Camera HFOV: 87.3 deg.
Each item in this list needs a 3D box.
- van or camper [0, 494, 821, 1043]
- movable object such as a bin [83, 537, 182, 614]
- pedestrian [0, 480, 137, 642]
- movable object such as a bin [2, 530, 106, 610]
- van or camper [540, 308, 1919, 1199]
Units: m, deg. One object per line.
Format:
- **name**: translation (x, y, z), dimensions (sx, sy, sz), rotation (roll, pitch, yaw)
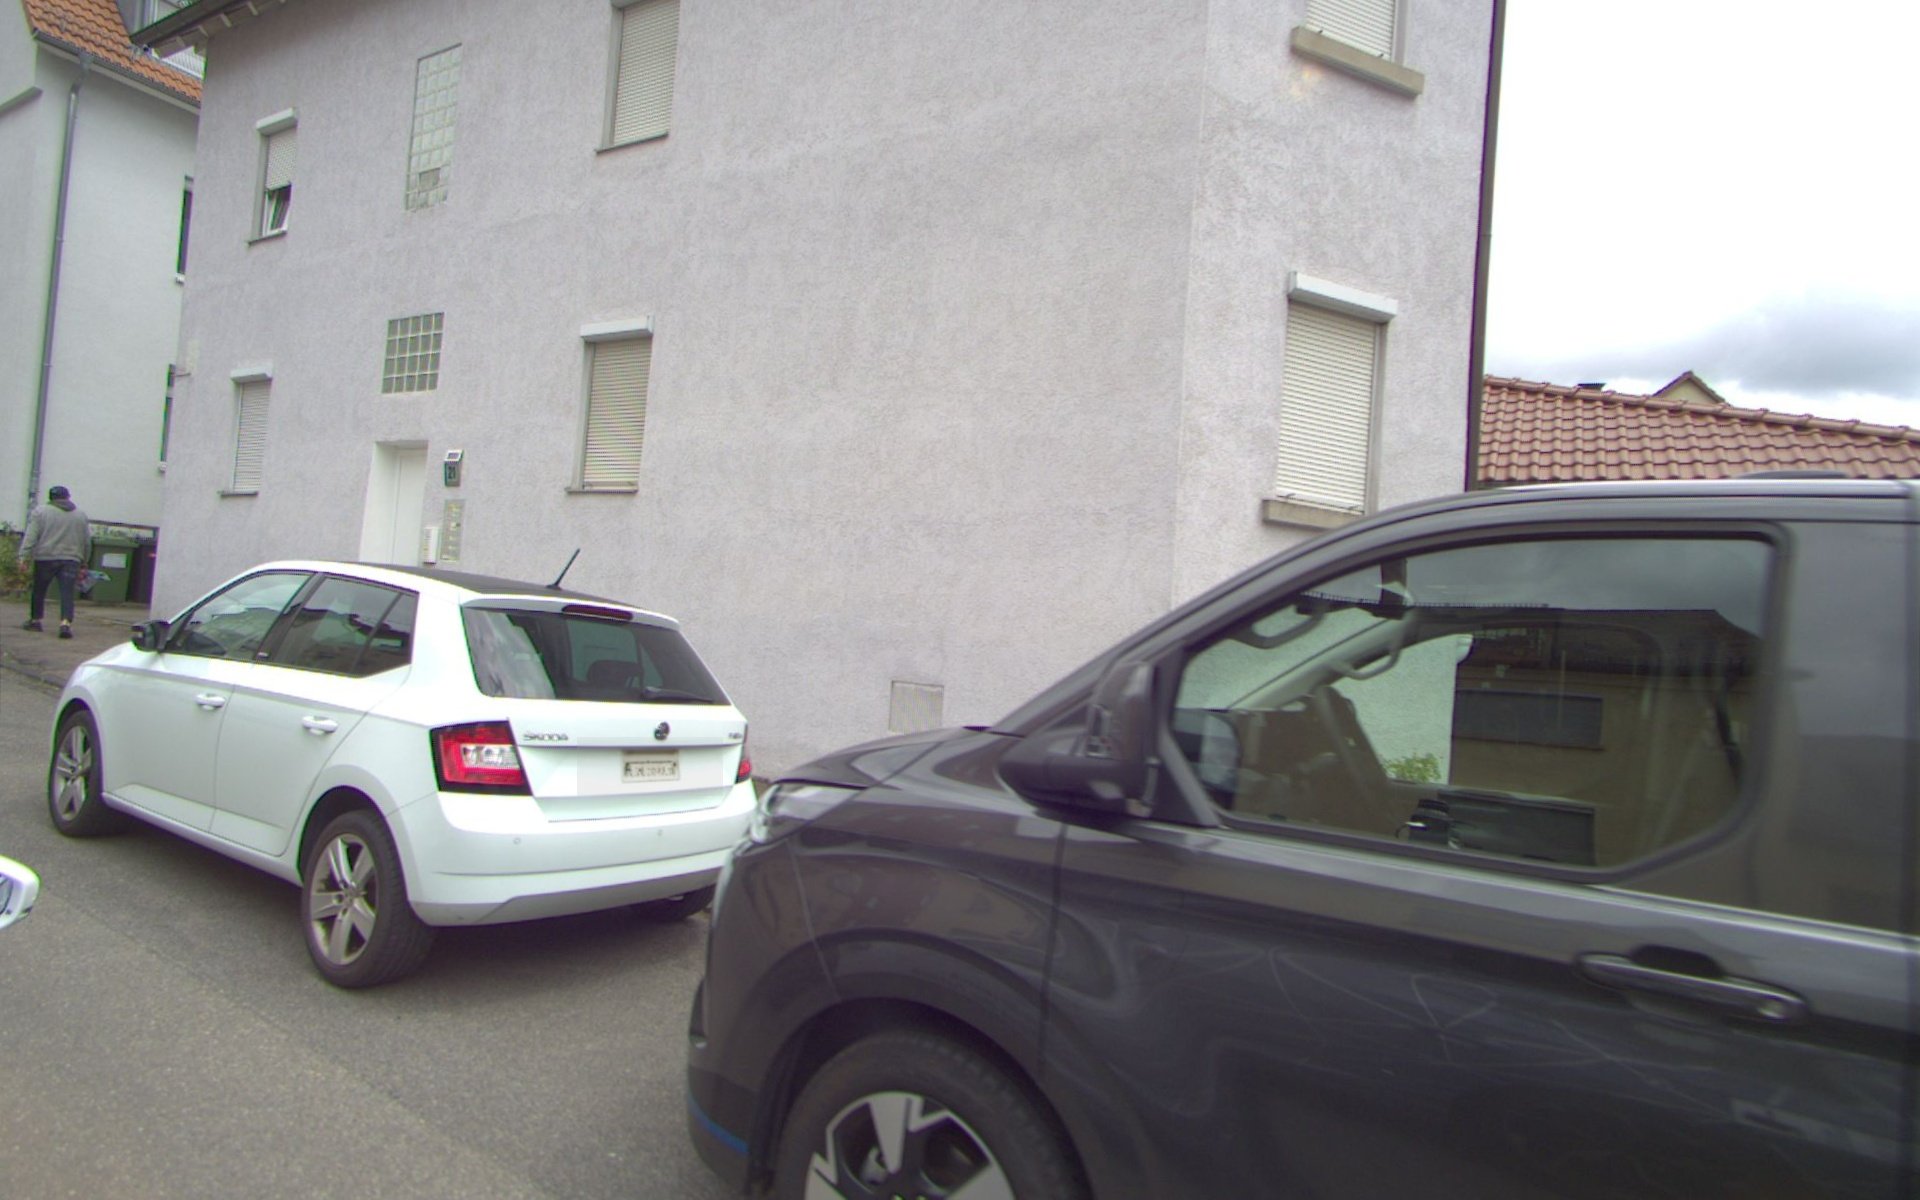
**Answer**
- **van or camper**: translation (-2.786, 0.497, 4.826), dimensions (3.934, 1.560, 1.606), rotation (6, -3, 32)
- **movable object such as a bin**: translation (-13.381, -0.398, 16.262), dimensions (1.197, 1.075, 0.888), rotation (6, 0, 35)
- **pedestrian**: translation (-10.627, -0.464, 11.834), dimensions (1.507, 1.762, 0.976), rotation (6, 3, 32)
- **movable object such as a bin**: translation (-13.960, -0.460, 15.499), dimensions (1.197, 1.075, 0.888), rotation (6, 0, 35)
- **van or camper**: translation (2.117, 0.833, 1.816), dimensions (5.844, 2.088, 1.999), rotation (6, -3, 30)
